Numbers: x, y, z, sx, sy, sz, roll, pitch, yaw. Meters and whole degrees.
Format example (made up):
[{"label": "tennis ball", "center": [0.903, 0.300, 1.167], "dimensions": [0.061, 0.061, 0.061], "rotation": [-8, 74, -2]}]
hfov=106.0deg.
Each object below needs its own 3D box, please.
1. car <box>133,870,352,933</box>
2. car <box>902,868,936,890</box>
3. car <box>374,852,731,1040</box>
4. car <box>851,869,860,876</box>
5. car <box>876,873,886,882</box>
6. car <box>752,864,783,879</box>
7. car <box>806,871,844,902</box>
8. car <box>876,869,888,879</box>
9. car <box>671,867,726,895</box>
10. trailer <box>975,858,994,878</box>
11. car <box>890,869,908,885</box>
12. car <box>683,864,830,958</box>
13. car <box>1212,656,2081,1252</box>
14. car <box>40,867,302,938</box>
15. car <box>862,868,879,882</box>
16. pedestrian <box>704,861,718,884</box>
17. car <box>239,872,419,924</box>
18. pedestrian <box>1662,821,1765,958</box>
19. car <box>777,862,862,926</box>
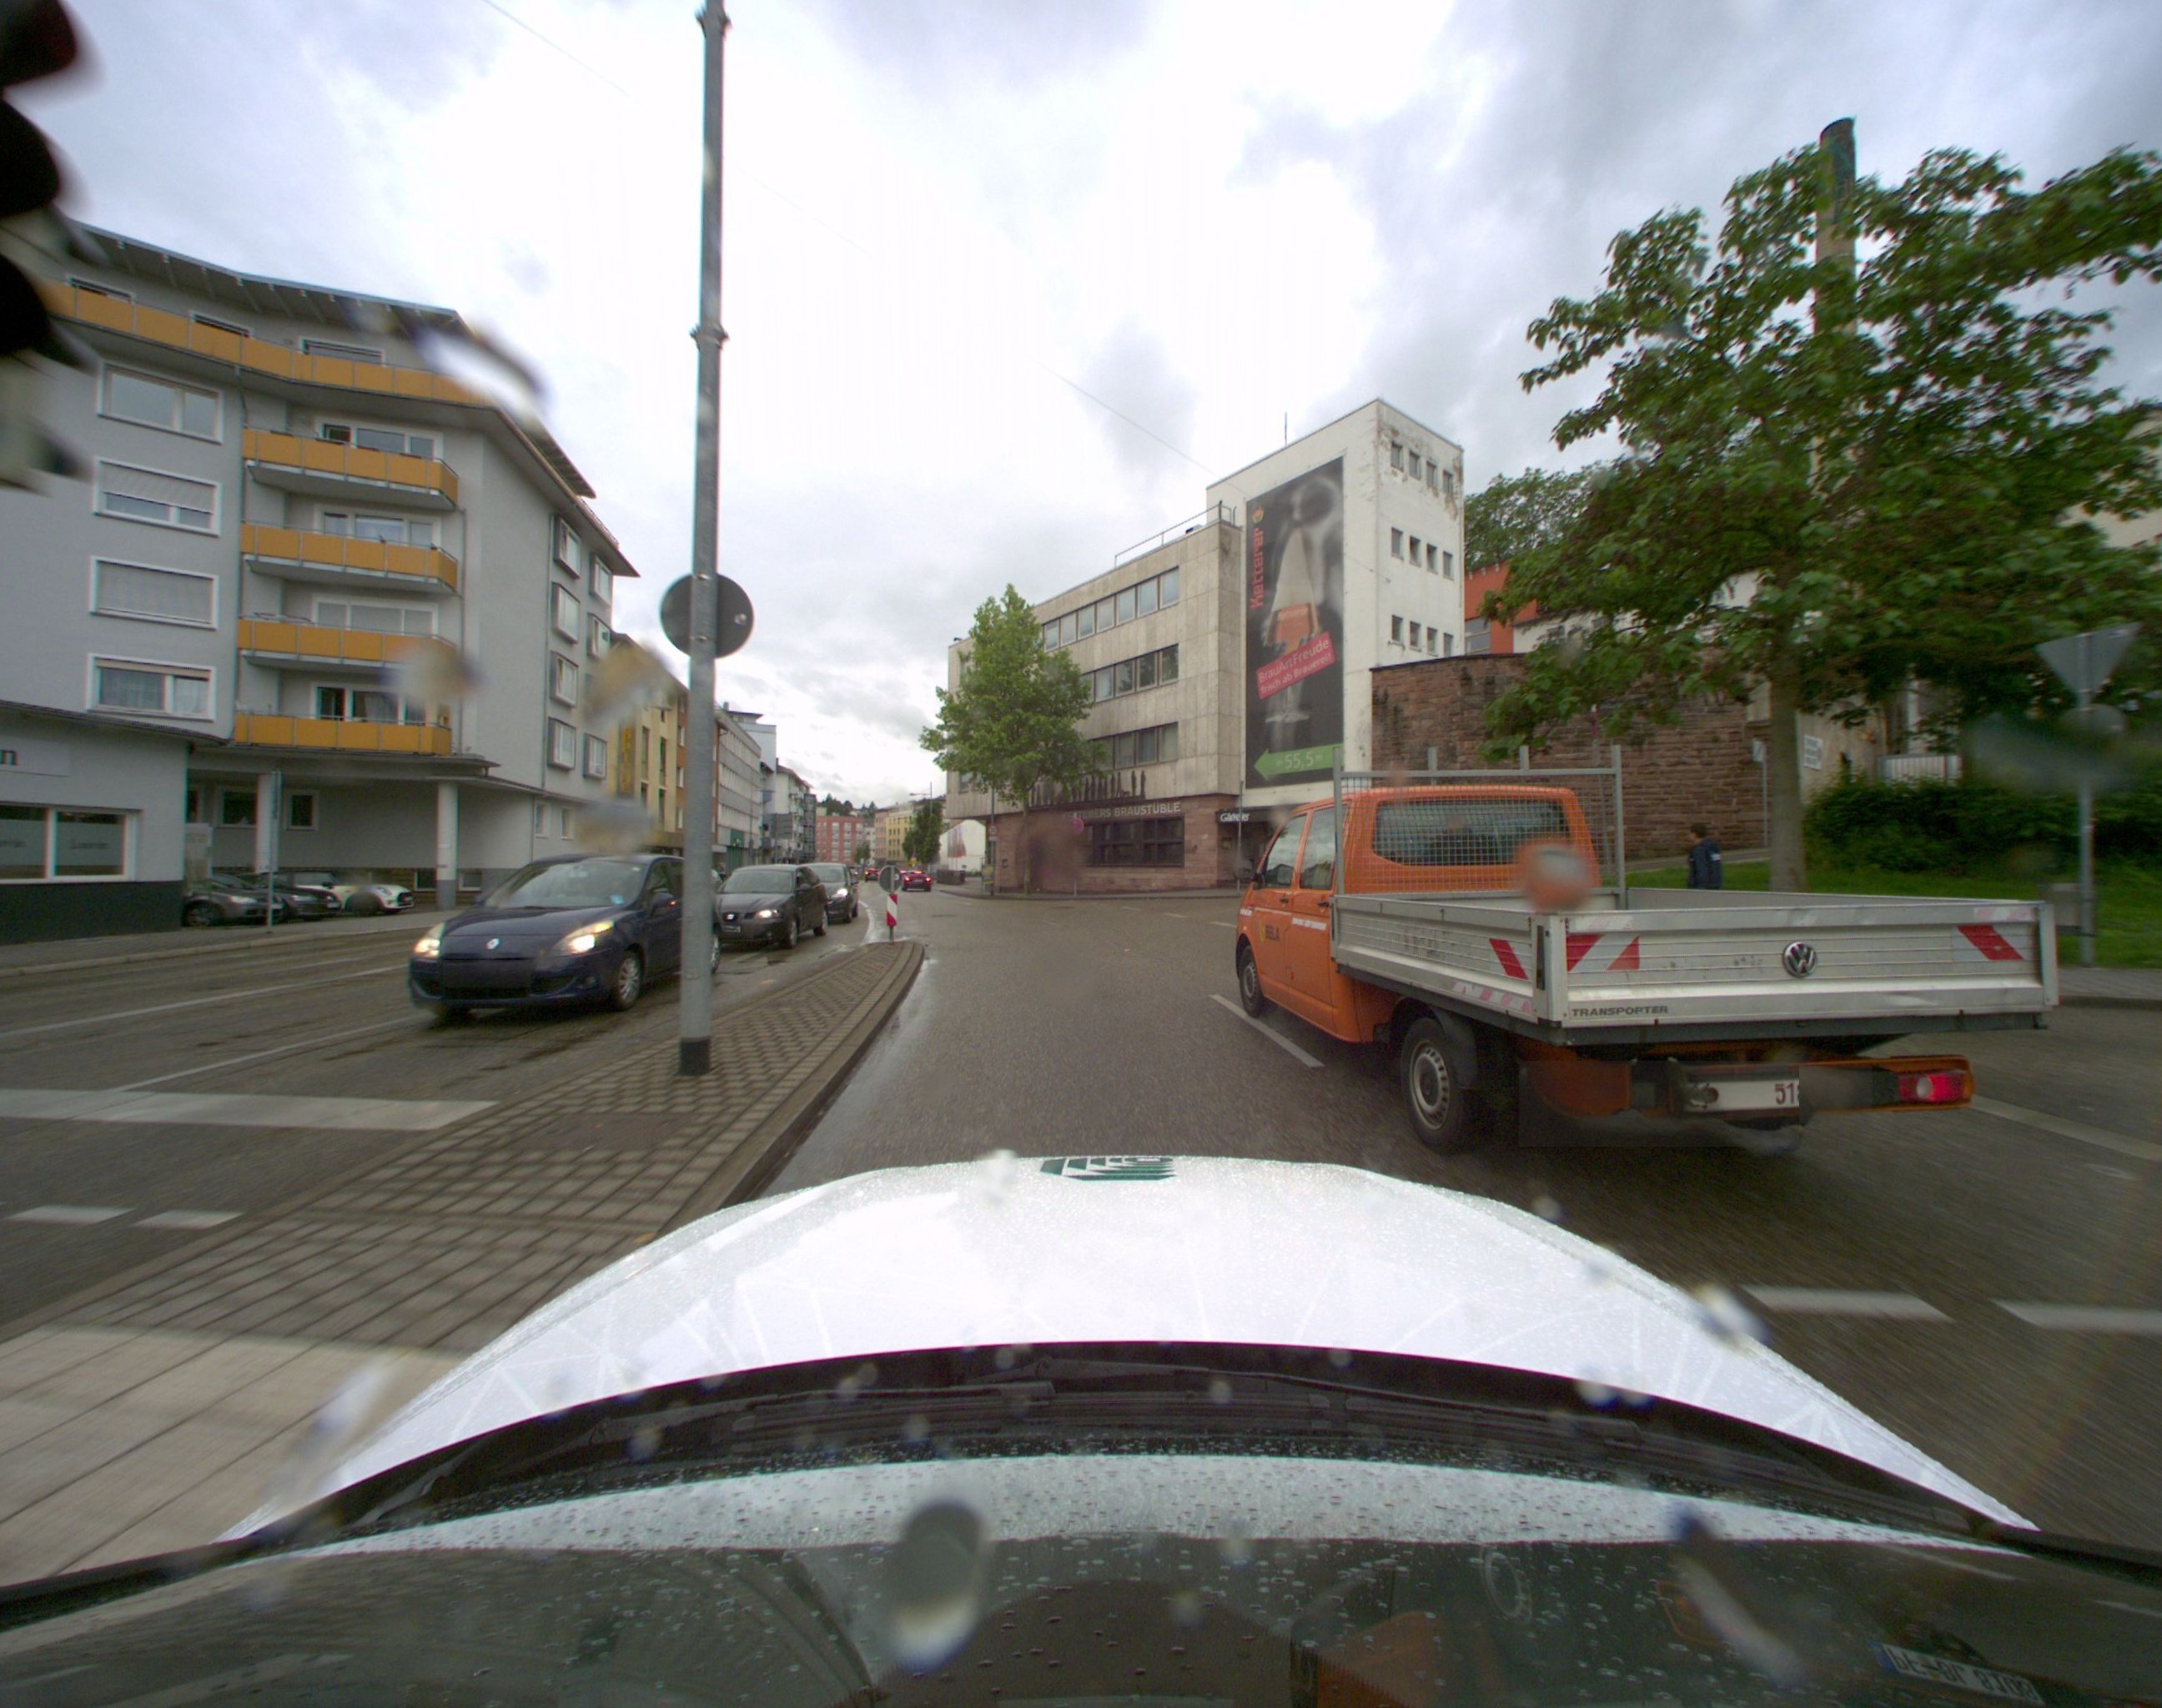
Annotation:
[{"label": "car", "center": [-22.402, 1.234, 21.927], "dimensions": [3.762, 1.421, 1.630], "rotation": [-2, -1, -14]}, {"label": "car", "center": [-11.270, 1.717, 56.478], "dimensions": [1.794, 1.403, 4.606], "rotation": [-3, 0, -17]}, {"label": "car", "center": [-5.544, 0.800, 9.287], "dimensions": [1.754, 1.614, 4.200], "rotation": [-1, 0, -8]}, {"label": "car", "center": [-47.670, 4.006, 172.253], "dimensions": [1.723, 1.423, 4.145], "rotation": [-2, -1, -14]}, {"label": "car", "center": [-33.432, 3.959, 135.976], "dimensions": [1.644, 1.381, 3.330], "rotation": [-1, -1, -15]}, {"label": "car", "center": [-44.696, 2.510, 116.159], "dimensions": [3.967, 2.034, 1.573], "rotation": [1, -2, -13]}, {"label": "car", "center": [-12.934, 1.595, 41.180], "dimensions": [1.737, 1.440, 4.387], "rotation": [0, -1, -17]}, {"label": "car", "center": [-27.996, 2.862, 114.623], "dimensions": [1.644, 1.381, 3.330], "rotation": [-1, -1, -15]}, {"label": "car", "center": [-19.744, 1.428, 42.208], "dimensions": [1.730, 1.366, 4.092], "rotation": [0, -2, -13]}, {"label": "trailer", "center": [-13.851, 1.943, 116.721], "dimensions": [2.128, 2.716, 5.369], "rotation": [-2, 0, -12]}, {"label": "car", "center": [-18.389, 2.281, 82.035], "dimensions": [1.667, 1.396, 3.849], "rotation": [-1, 2, -14]}, {"label": "car", "center": [-5.715, 0.927, 14.798], "dimensions": [1.554, 1.398, 3.718], "rotation": [-1, 0, -7]}, {"label": "car", "center": [2.511, 0.416, 5.688], "dimensions": [2.096, 2.089, 5.536], "rotation": [2, -1, -2]}, {"label": "car", "center": [-21.702, 1.138, 19.616], "dimensions": [3.818, 1.421, 1.789], "rotation": [-2, -2, -14]}, {"label": "car", "center": [-25.553, 2.535, 98.754], "dimensions": [1.825, 1.601, 3.701], "rotation": [3, -2, -13]}, {"label": "pedestrian", "center": [-27.725, 1.413, 61.055], "dimensions": [0.631, 1.676, 0.903], "rotation": [5, -3, -15]}, {"label": "car", "center": [-22.413, 1.274, 24.418], "dimensions": [3.631, 1.338, 1.487], "rotation": [-2, -1, -17]}, {"label": "pedestrian", "center": [8.261, 0.433, 10.651], "dimensions": [0.575, 1.686, 0.953], "rotation": [-4, 3, -38]}, {"label": "car", "center": [-6.560, 0.956, 20.784], "dimensions": [1.645, 1.453, 3.973], "rotation": [0, -1, -12]}]
